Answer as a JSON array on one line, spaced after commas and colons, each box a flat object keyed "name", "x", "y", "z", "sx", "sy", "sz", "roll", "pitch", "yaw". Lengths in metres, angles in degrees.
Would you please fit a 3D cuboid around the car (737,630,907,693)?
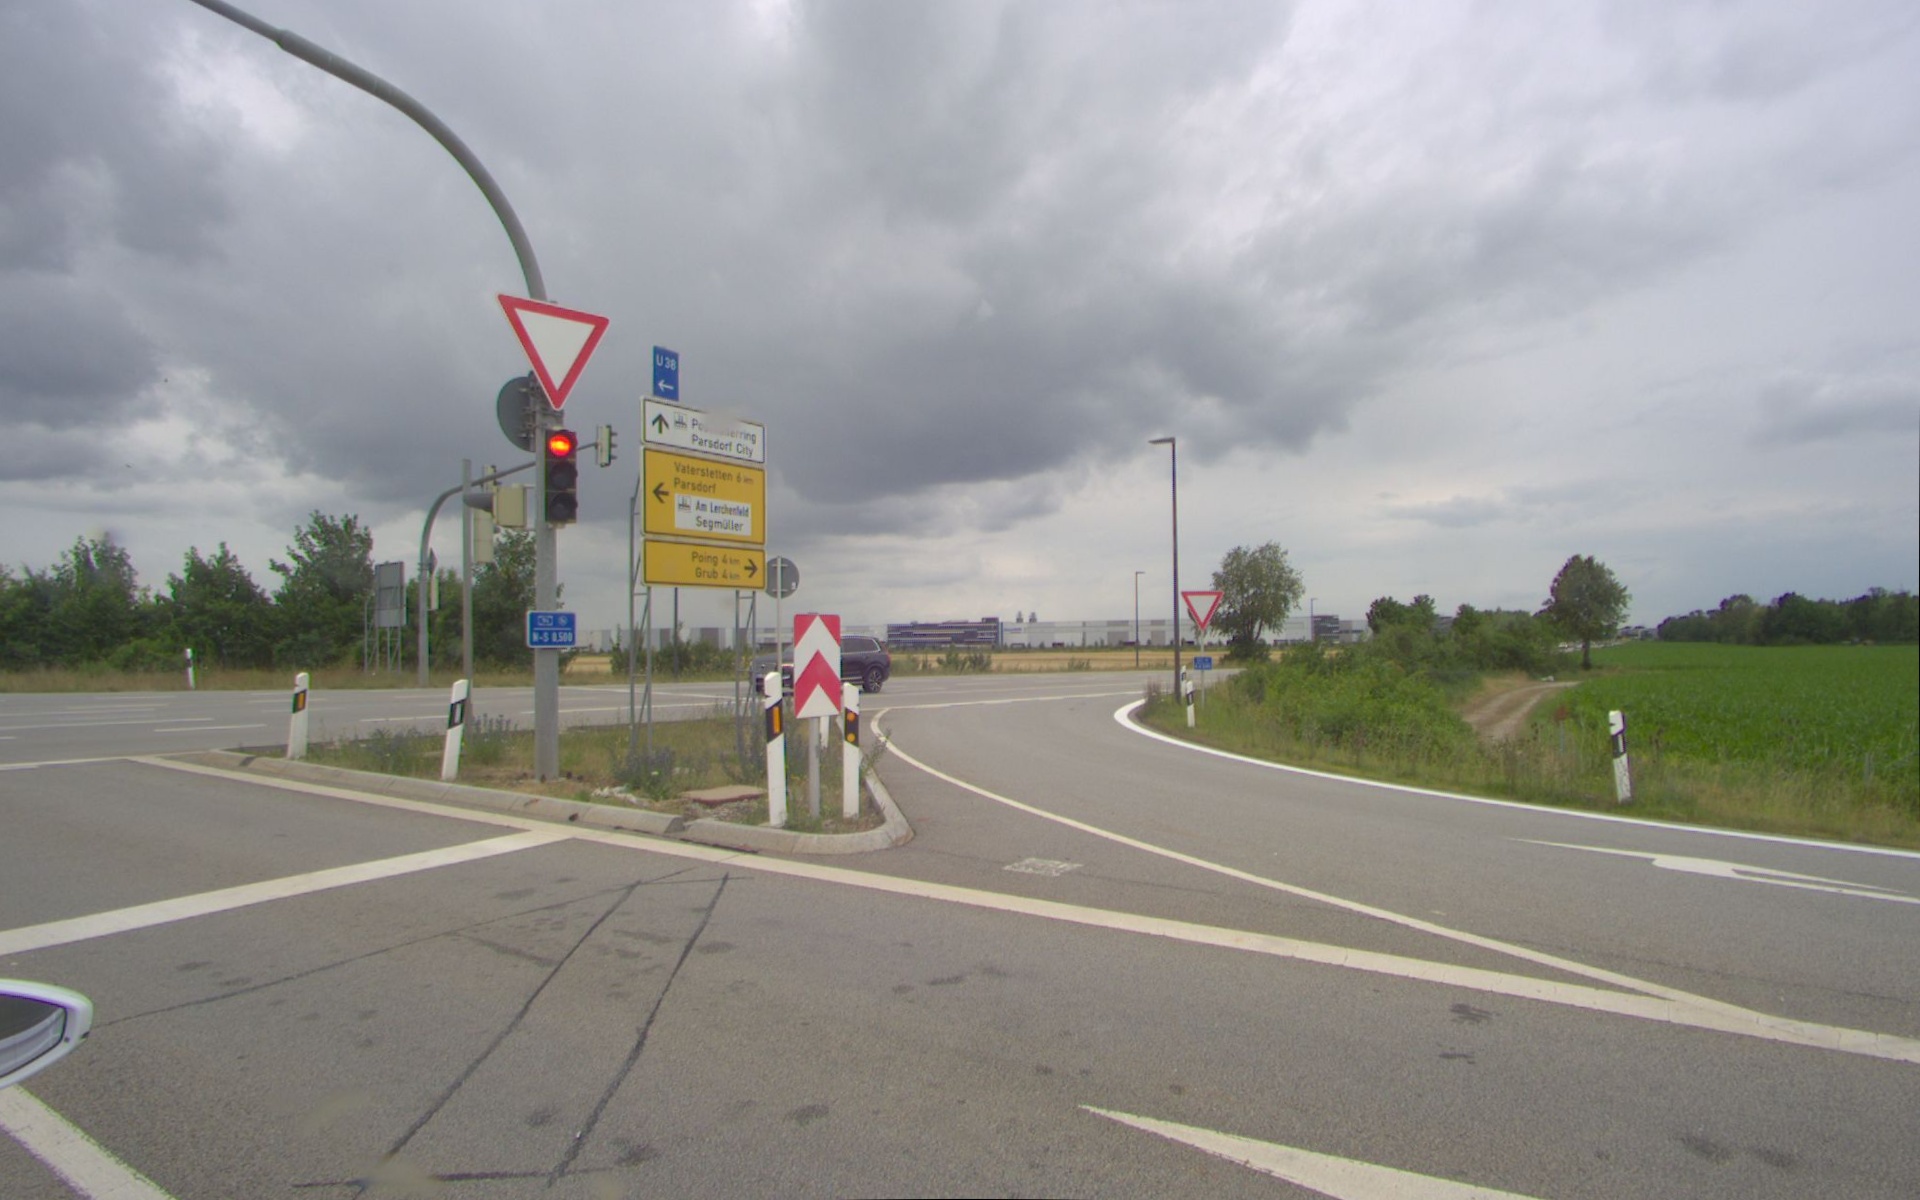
[{"name": "car", "x": -4.003, "y": 1.810, "z": 29.748, "sx": 1.977, "sy": 1.705, "sz": 4.961, "roll": -2, "pitch": -3, "yaw": 41}]
